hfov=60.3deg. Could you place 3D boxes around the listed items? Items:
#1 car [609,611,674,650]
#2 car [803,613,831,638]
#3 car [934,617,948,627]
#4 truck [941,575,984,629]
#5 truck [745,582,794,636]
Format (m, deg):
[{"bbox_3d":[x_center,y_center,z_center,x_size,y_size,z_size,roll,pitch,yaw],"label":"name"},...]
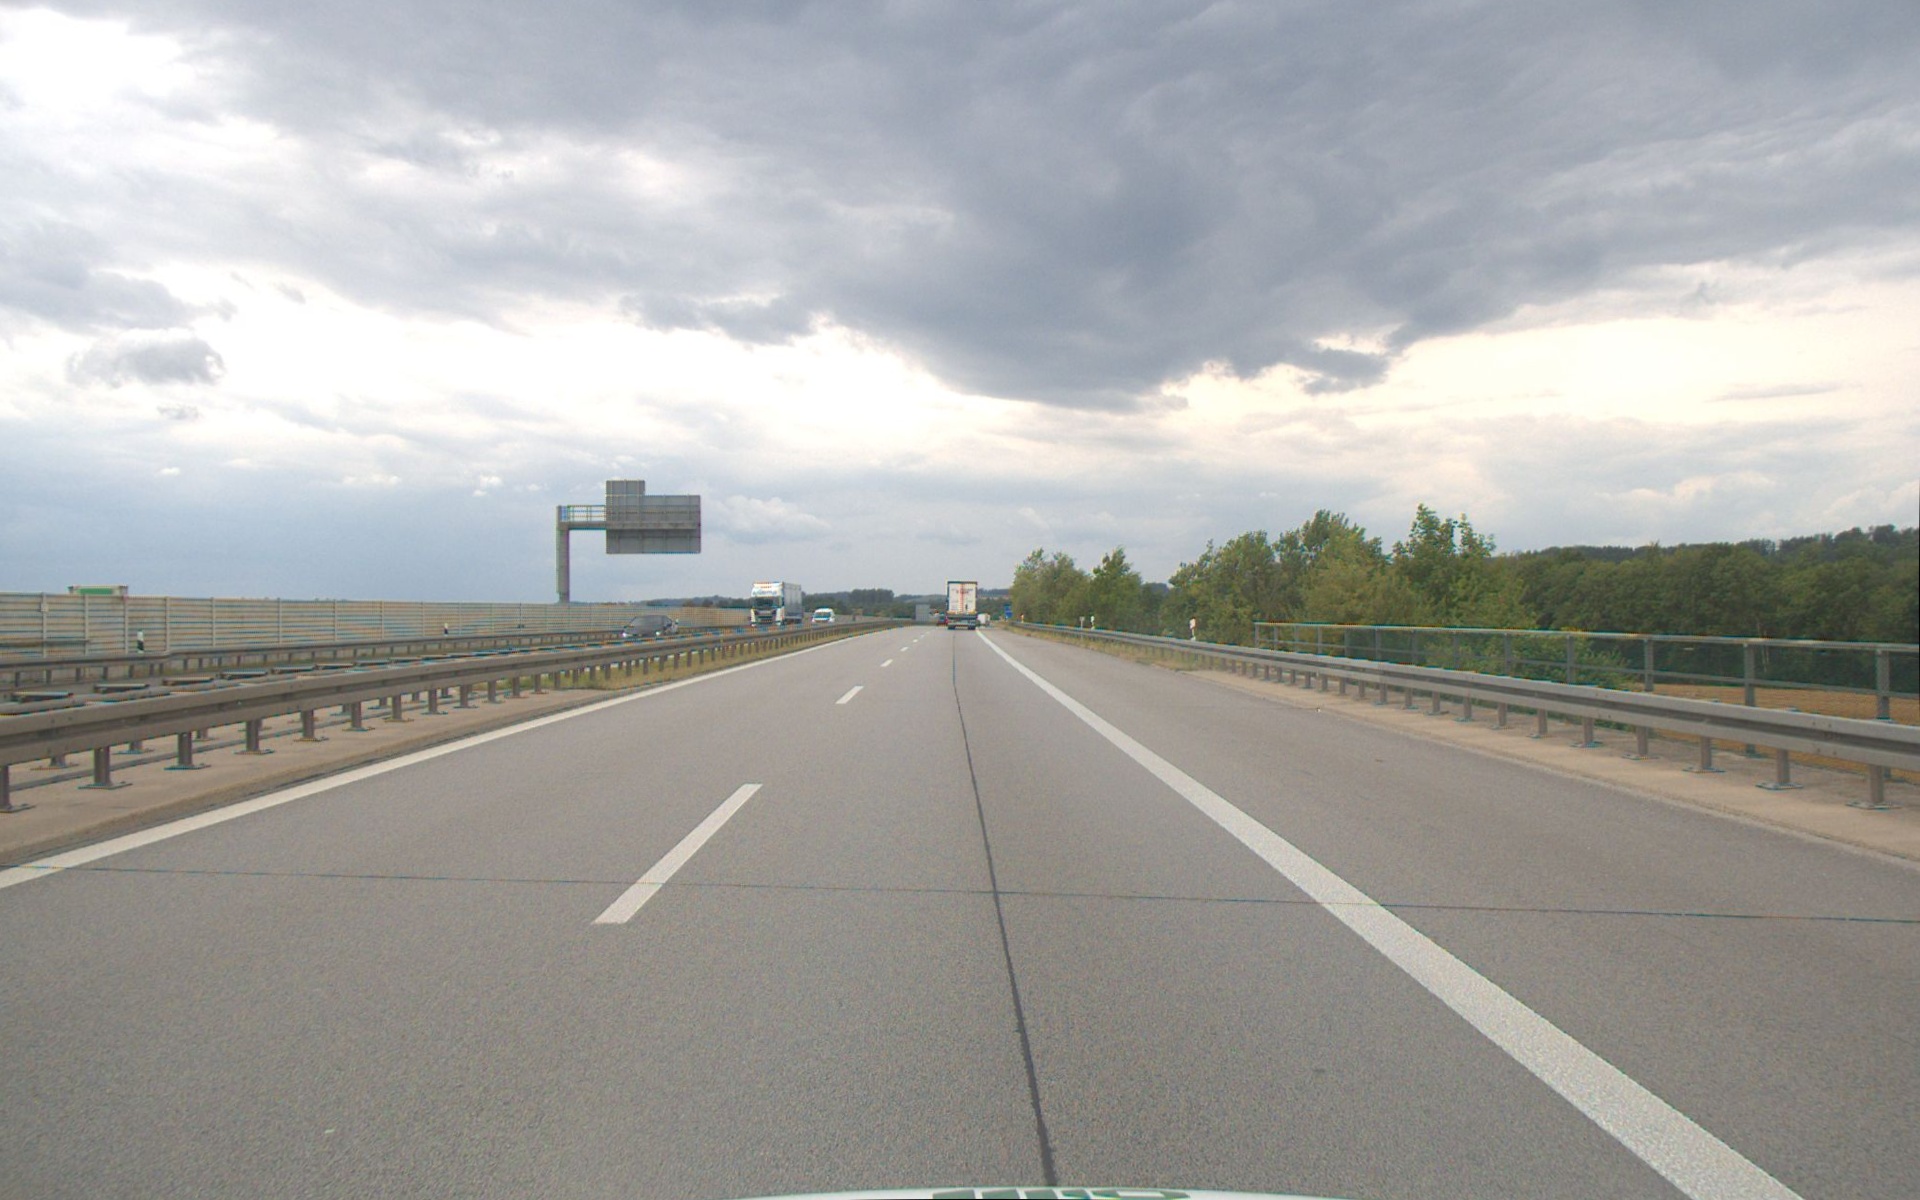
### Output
[{"bbox_3d":[-13.189,1.226,68.763,1.760,1.397,4.682,-5,0,-1],"label":"car"},{"bbox_3d":[-11.525,2.041,133.454,1.778,1.879,4.180,5,-1,0],"label":"car"},{"bbox_3d":[-2.916,3.306,254.075,1.954,1.445,3.998,1,0,-3],"label":"car"},{"bbox_3d":[0.203,0.307,147.962,3.597,4.490,16.338,0,-1,0],"label":"truck"},{"bbox_3d":[-15.337,0.740,133.555,3.046,4.084,7.322,-2,-1,-1],"label":"truck"}]
